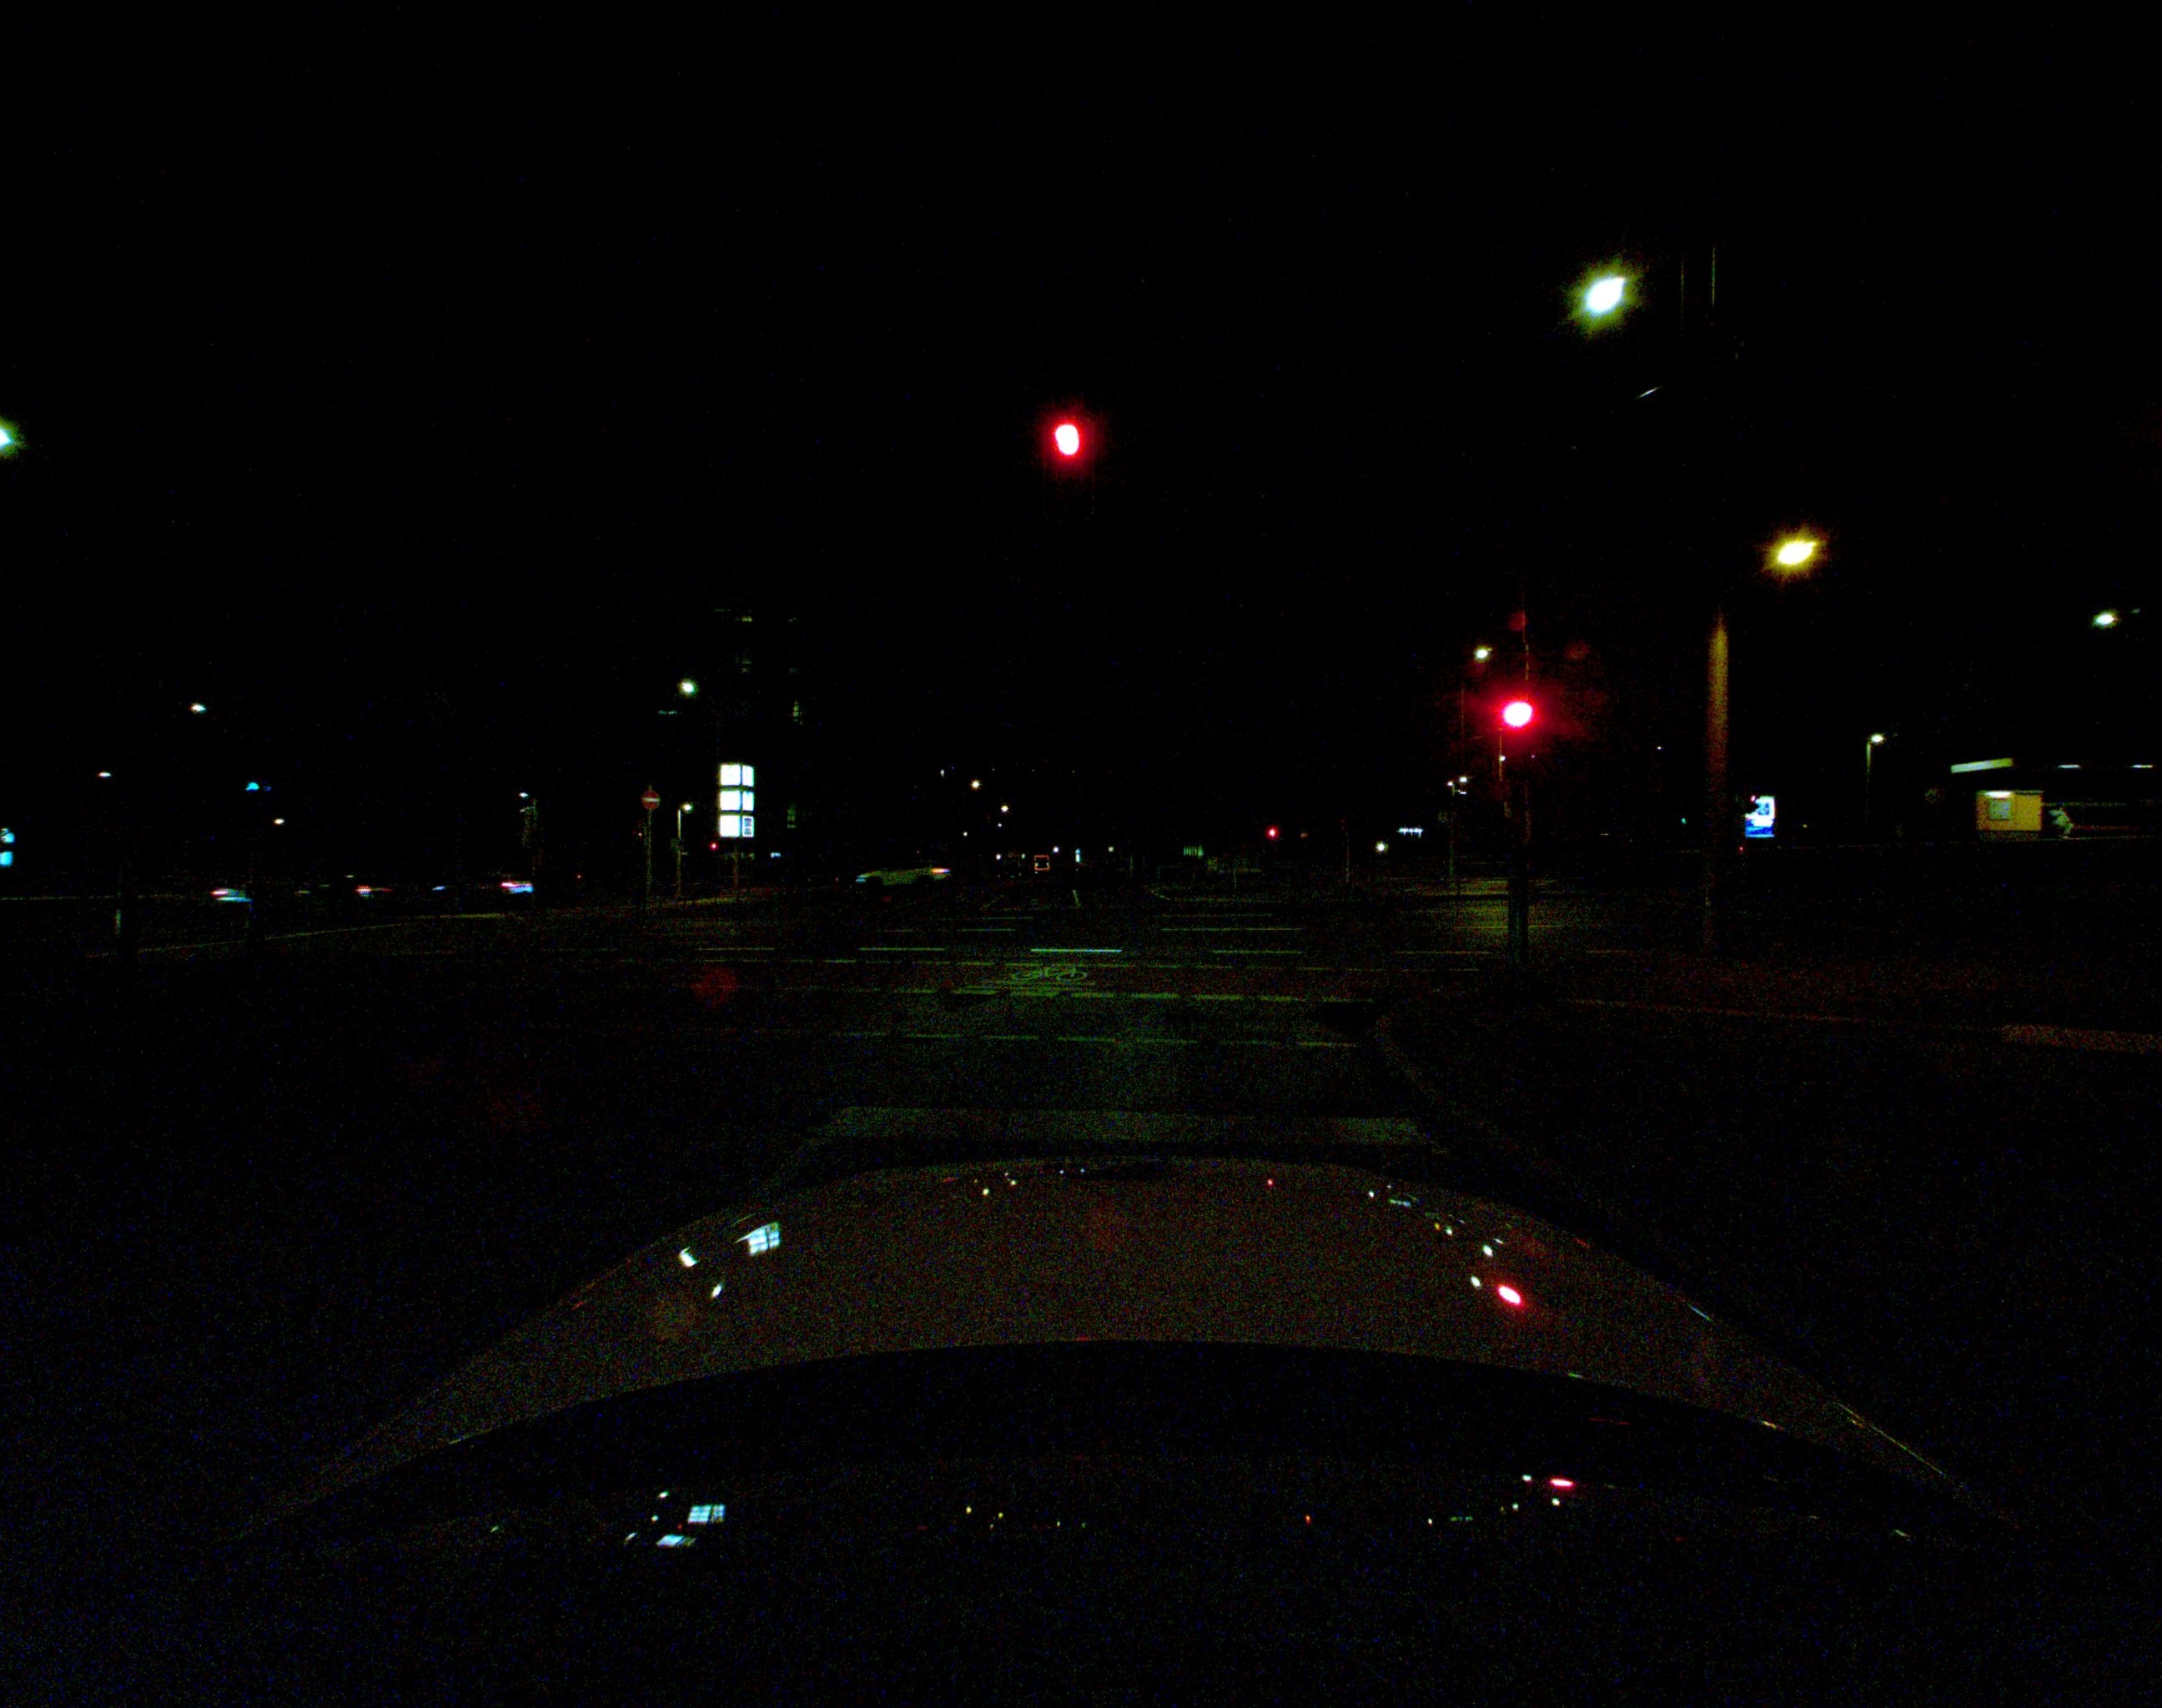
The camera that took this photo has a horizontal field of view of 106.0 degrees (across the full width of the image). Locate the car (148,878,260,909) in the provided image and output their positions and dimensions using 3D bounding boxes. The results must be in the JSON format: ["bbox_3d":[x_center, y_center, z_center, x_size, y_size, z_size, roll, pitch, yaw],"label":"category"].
[{"bbox_3d":[-44.532,1.989,41.406,3.817,1.486,1.871,0,-1,5],"label":"car"}]

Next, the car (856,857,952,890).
[{"bbox_3d":[-8.980,1.011,41.610,4.377,1.644,1.944,0,-1,5],"label":"car"}]

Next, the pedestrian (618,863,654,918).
[{"bbox_3d":[-14.039,1.144,25.701,0.670,1.722,0.711,-1,-2,31],"label":"pedestrian"}]

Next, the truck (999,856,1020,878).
[{"bbox_3d":[-10.528,1.942,120.001,2.419,3.089,6.412,0,-1,-11],"label":"truck"}]

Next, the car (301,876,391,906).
[{"bbox_3d":[-42.872,2.149,47.547,3.798,1.631,1.816,-2,0,8],"label":"car"}]

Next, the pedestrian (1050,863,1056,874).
[{"bbox_3d":[-5.063,2.676,147.758,0.851,1.912,1.001,0,-1,-16],"label":"pedestrian"}]

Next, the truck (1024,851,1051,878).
[{"bbox_3d":[-7.996,1.937,149.251,3.366,4.843,7.865,0,-1,-14],"label":"truck"}]

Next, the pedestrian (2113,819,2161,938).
[{"bbox_3d":[15.670,0.323,11.629,0.870,1.656,0.843,-7,-5,42],"label":"pedestrian"}]

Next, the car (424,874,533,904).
[{"bbox_3d":[-31.724,1.822,42.942,4.553,1.486,1.781,0,0,5],"label":"car"}]
